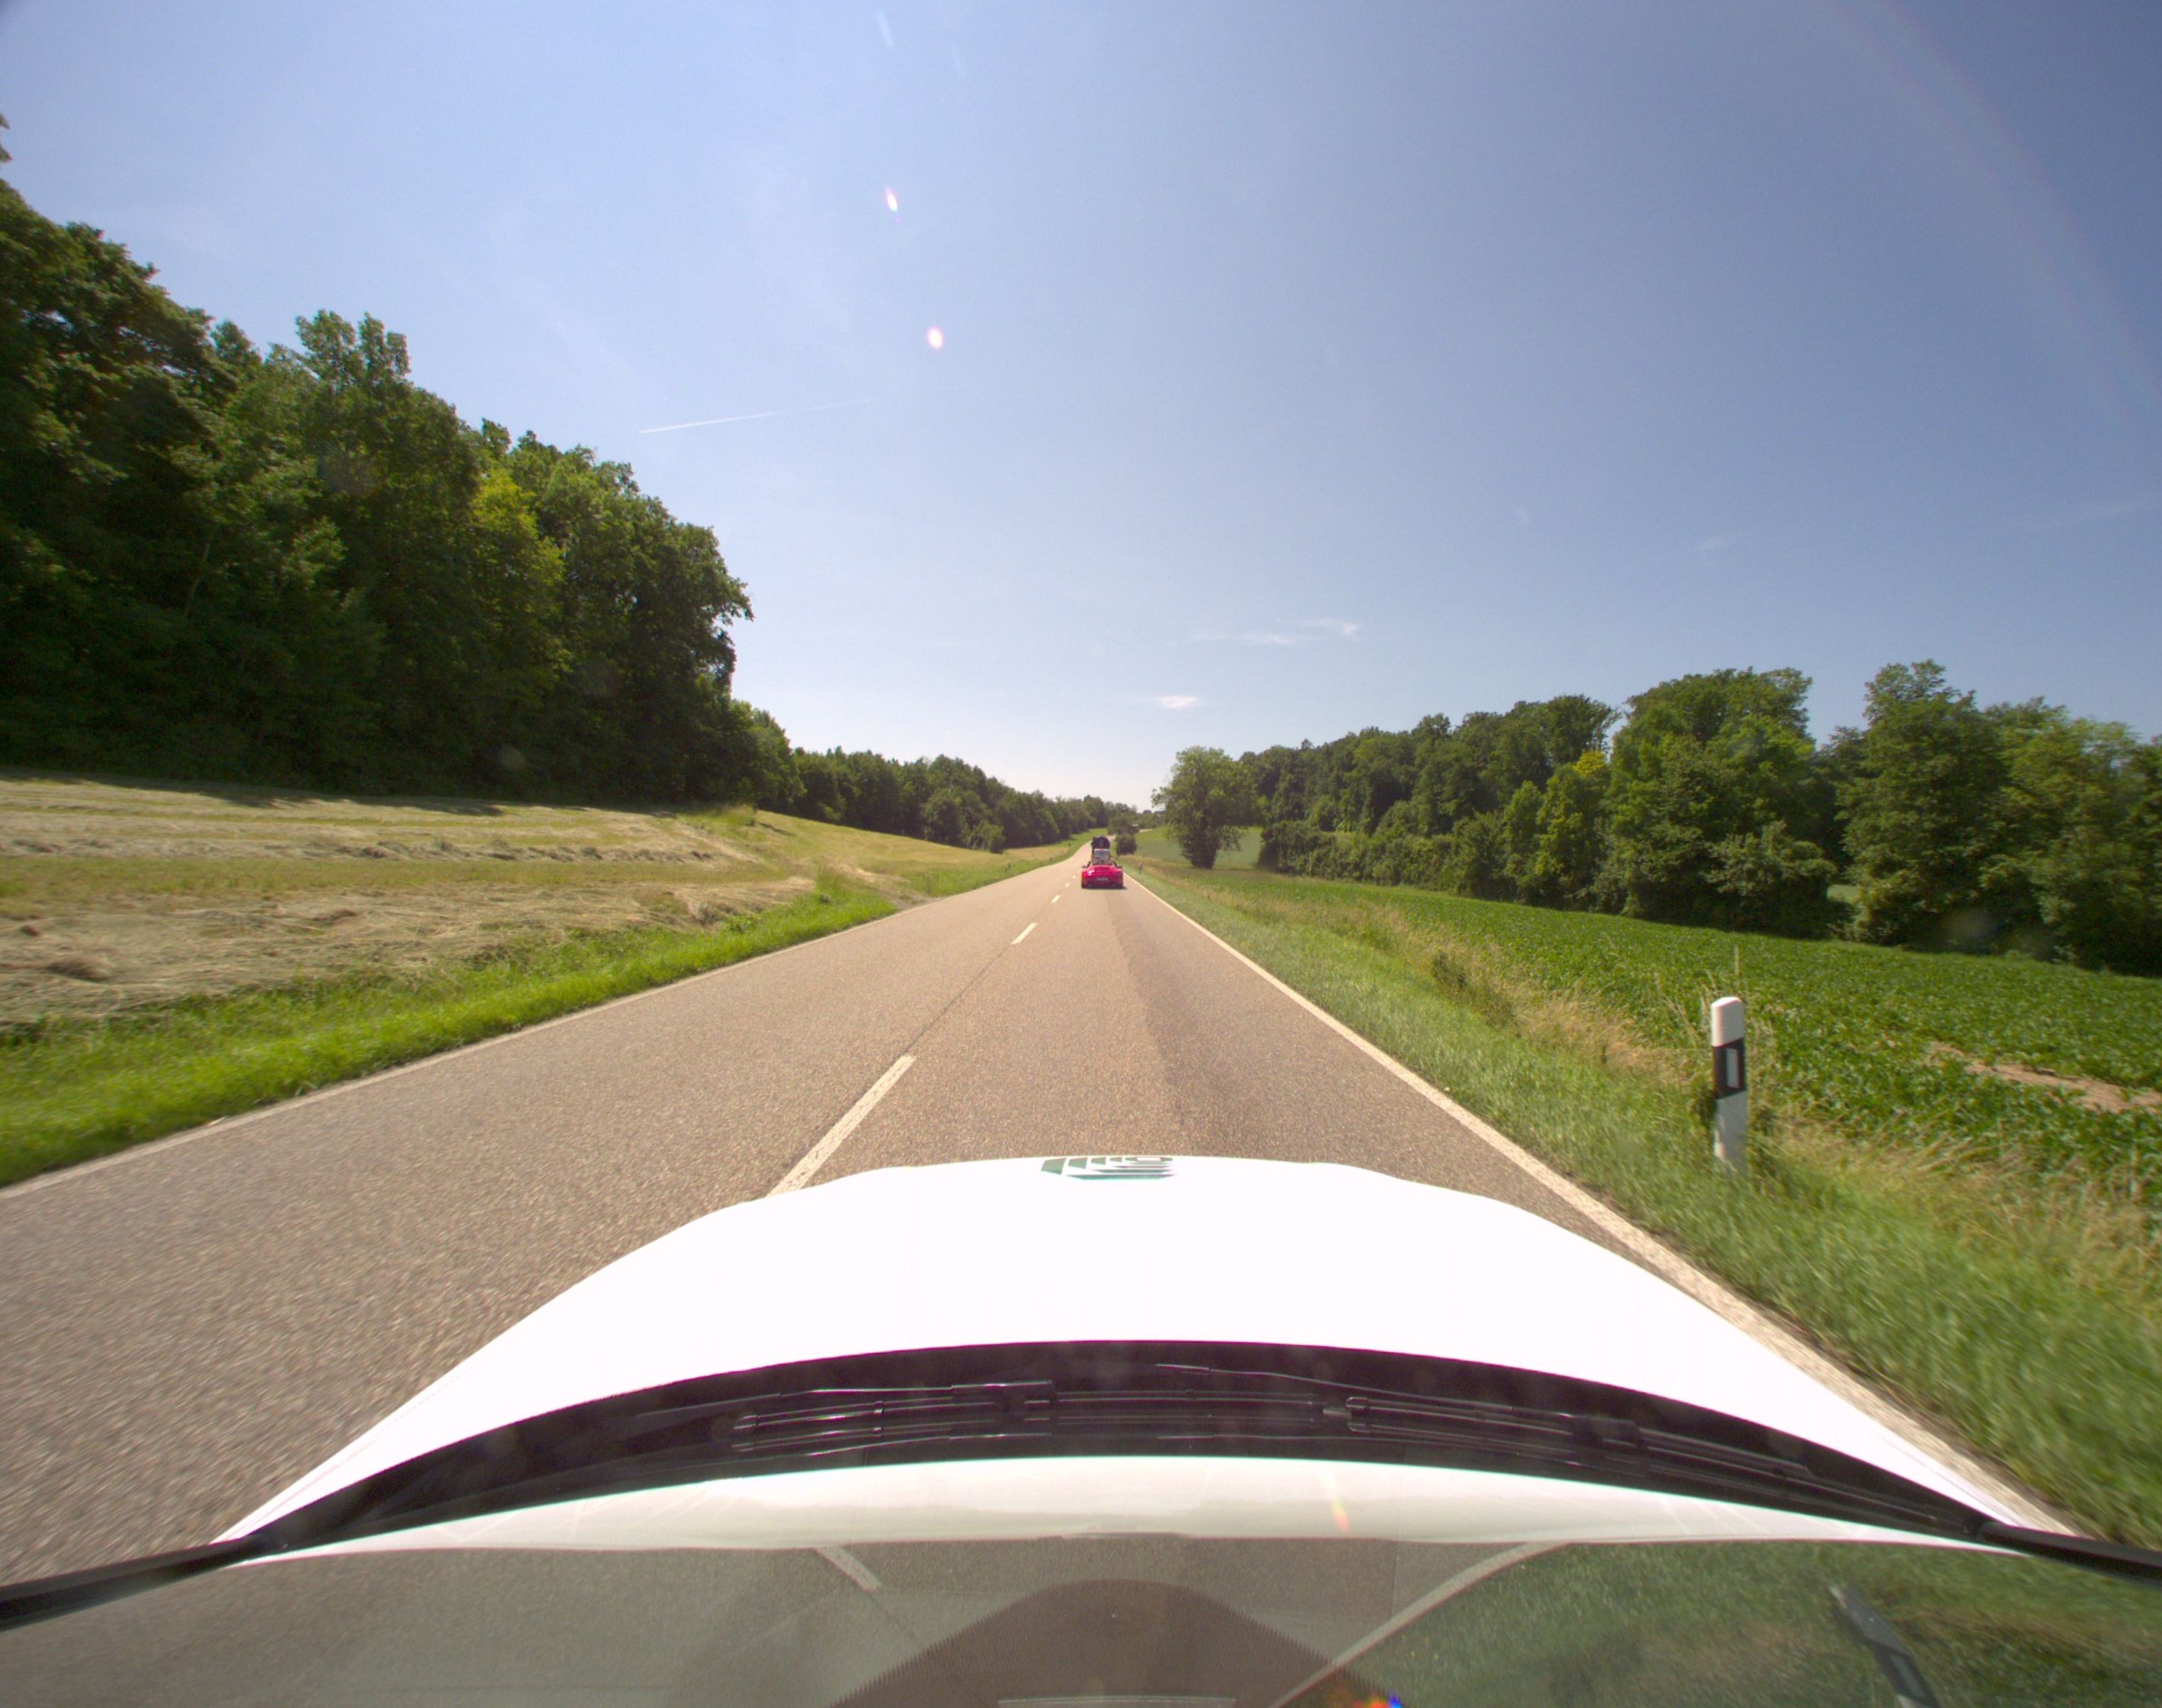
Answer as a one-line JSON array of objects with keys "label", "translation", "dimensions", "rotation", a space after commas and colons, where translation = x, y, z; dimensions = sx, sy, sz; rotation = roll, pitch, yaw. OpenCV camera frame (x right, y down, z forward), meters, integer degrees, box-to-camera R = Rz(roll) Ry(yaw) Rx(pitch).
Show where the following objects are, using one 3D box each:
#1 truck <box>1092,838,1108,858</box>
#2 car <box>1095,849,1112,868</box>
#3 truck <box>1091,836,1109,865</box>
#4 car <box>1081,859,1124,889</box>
[{"label": "truck", "translation": [4.718, -1.478, 205.959], "dimensions": [3.713, 4.659, 12.031], "rotation": [0, 2, 0]}, {"label": "car", "translation": [2.375, 0.405, 84.062], "dimensions": [1.672, 1.900, 4.011], "rotation": [-1, 0, 2]}, {"label": "truck", "translation": [2.751, -0.606, 120.291], "dimensions": [2.396, 4.049, 12.550], "rotation": [0, 1, 0]}, {"label": "car", "translation": [0.955, 0.858, 37.054], "dimensions": [1.876, 1.255, 4.010], "rotation": [0, 0, 1]}]
